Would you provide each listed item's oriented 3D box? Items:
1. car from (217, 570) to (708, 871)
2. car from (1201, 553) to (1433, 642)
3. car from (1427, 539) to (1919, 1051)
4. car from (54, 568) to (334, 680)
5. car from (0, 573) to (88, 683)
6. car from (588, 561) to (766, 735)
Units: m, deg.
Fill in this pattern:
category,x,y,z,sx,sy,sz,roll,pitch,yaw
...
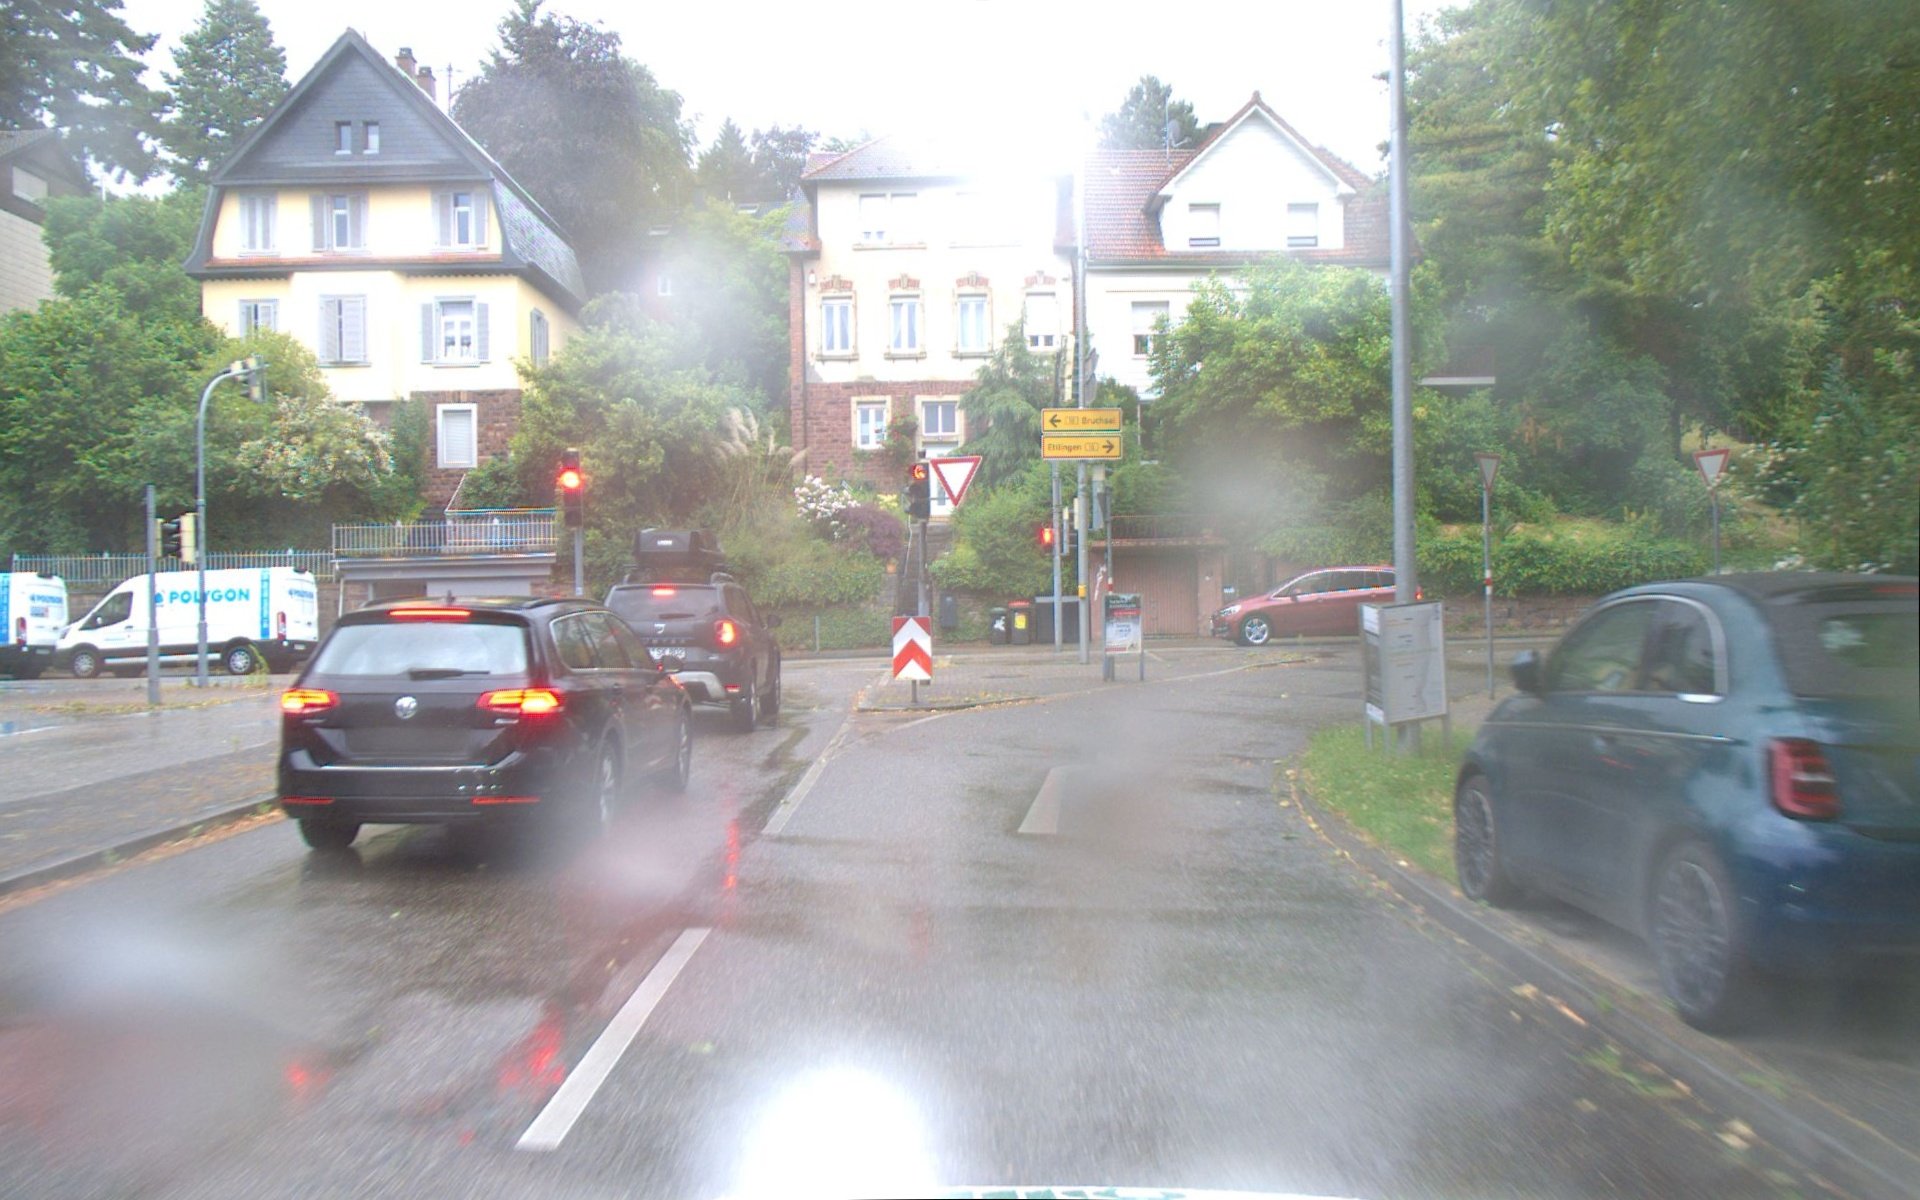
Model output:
category,x,y,z,sx,sy,sz,roll,pitch,yaw
car,-2.883,0.571,10.730,1.794,1.482,4.658,1,1,-1
car,7.437,-0.029,34.772,4.474,1.629,1.775,-3,-1,1
car,3.280,0.601,6.747,1.713,1.518,3.599,1,0,0
car,-18.107,0.567,39.292,5.543,2.538,2.316,0,-1,1
car,-24.198,0.697,39.550,5.447,2.538,2.316,0,-1,1
car,-3.121,0.442,18.999,1.726,1.741,4.595,0,1,-6
